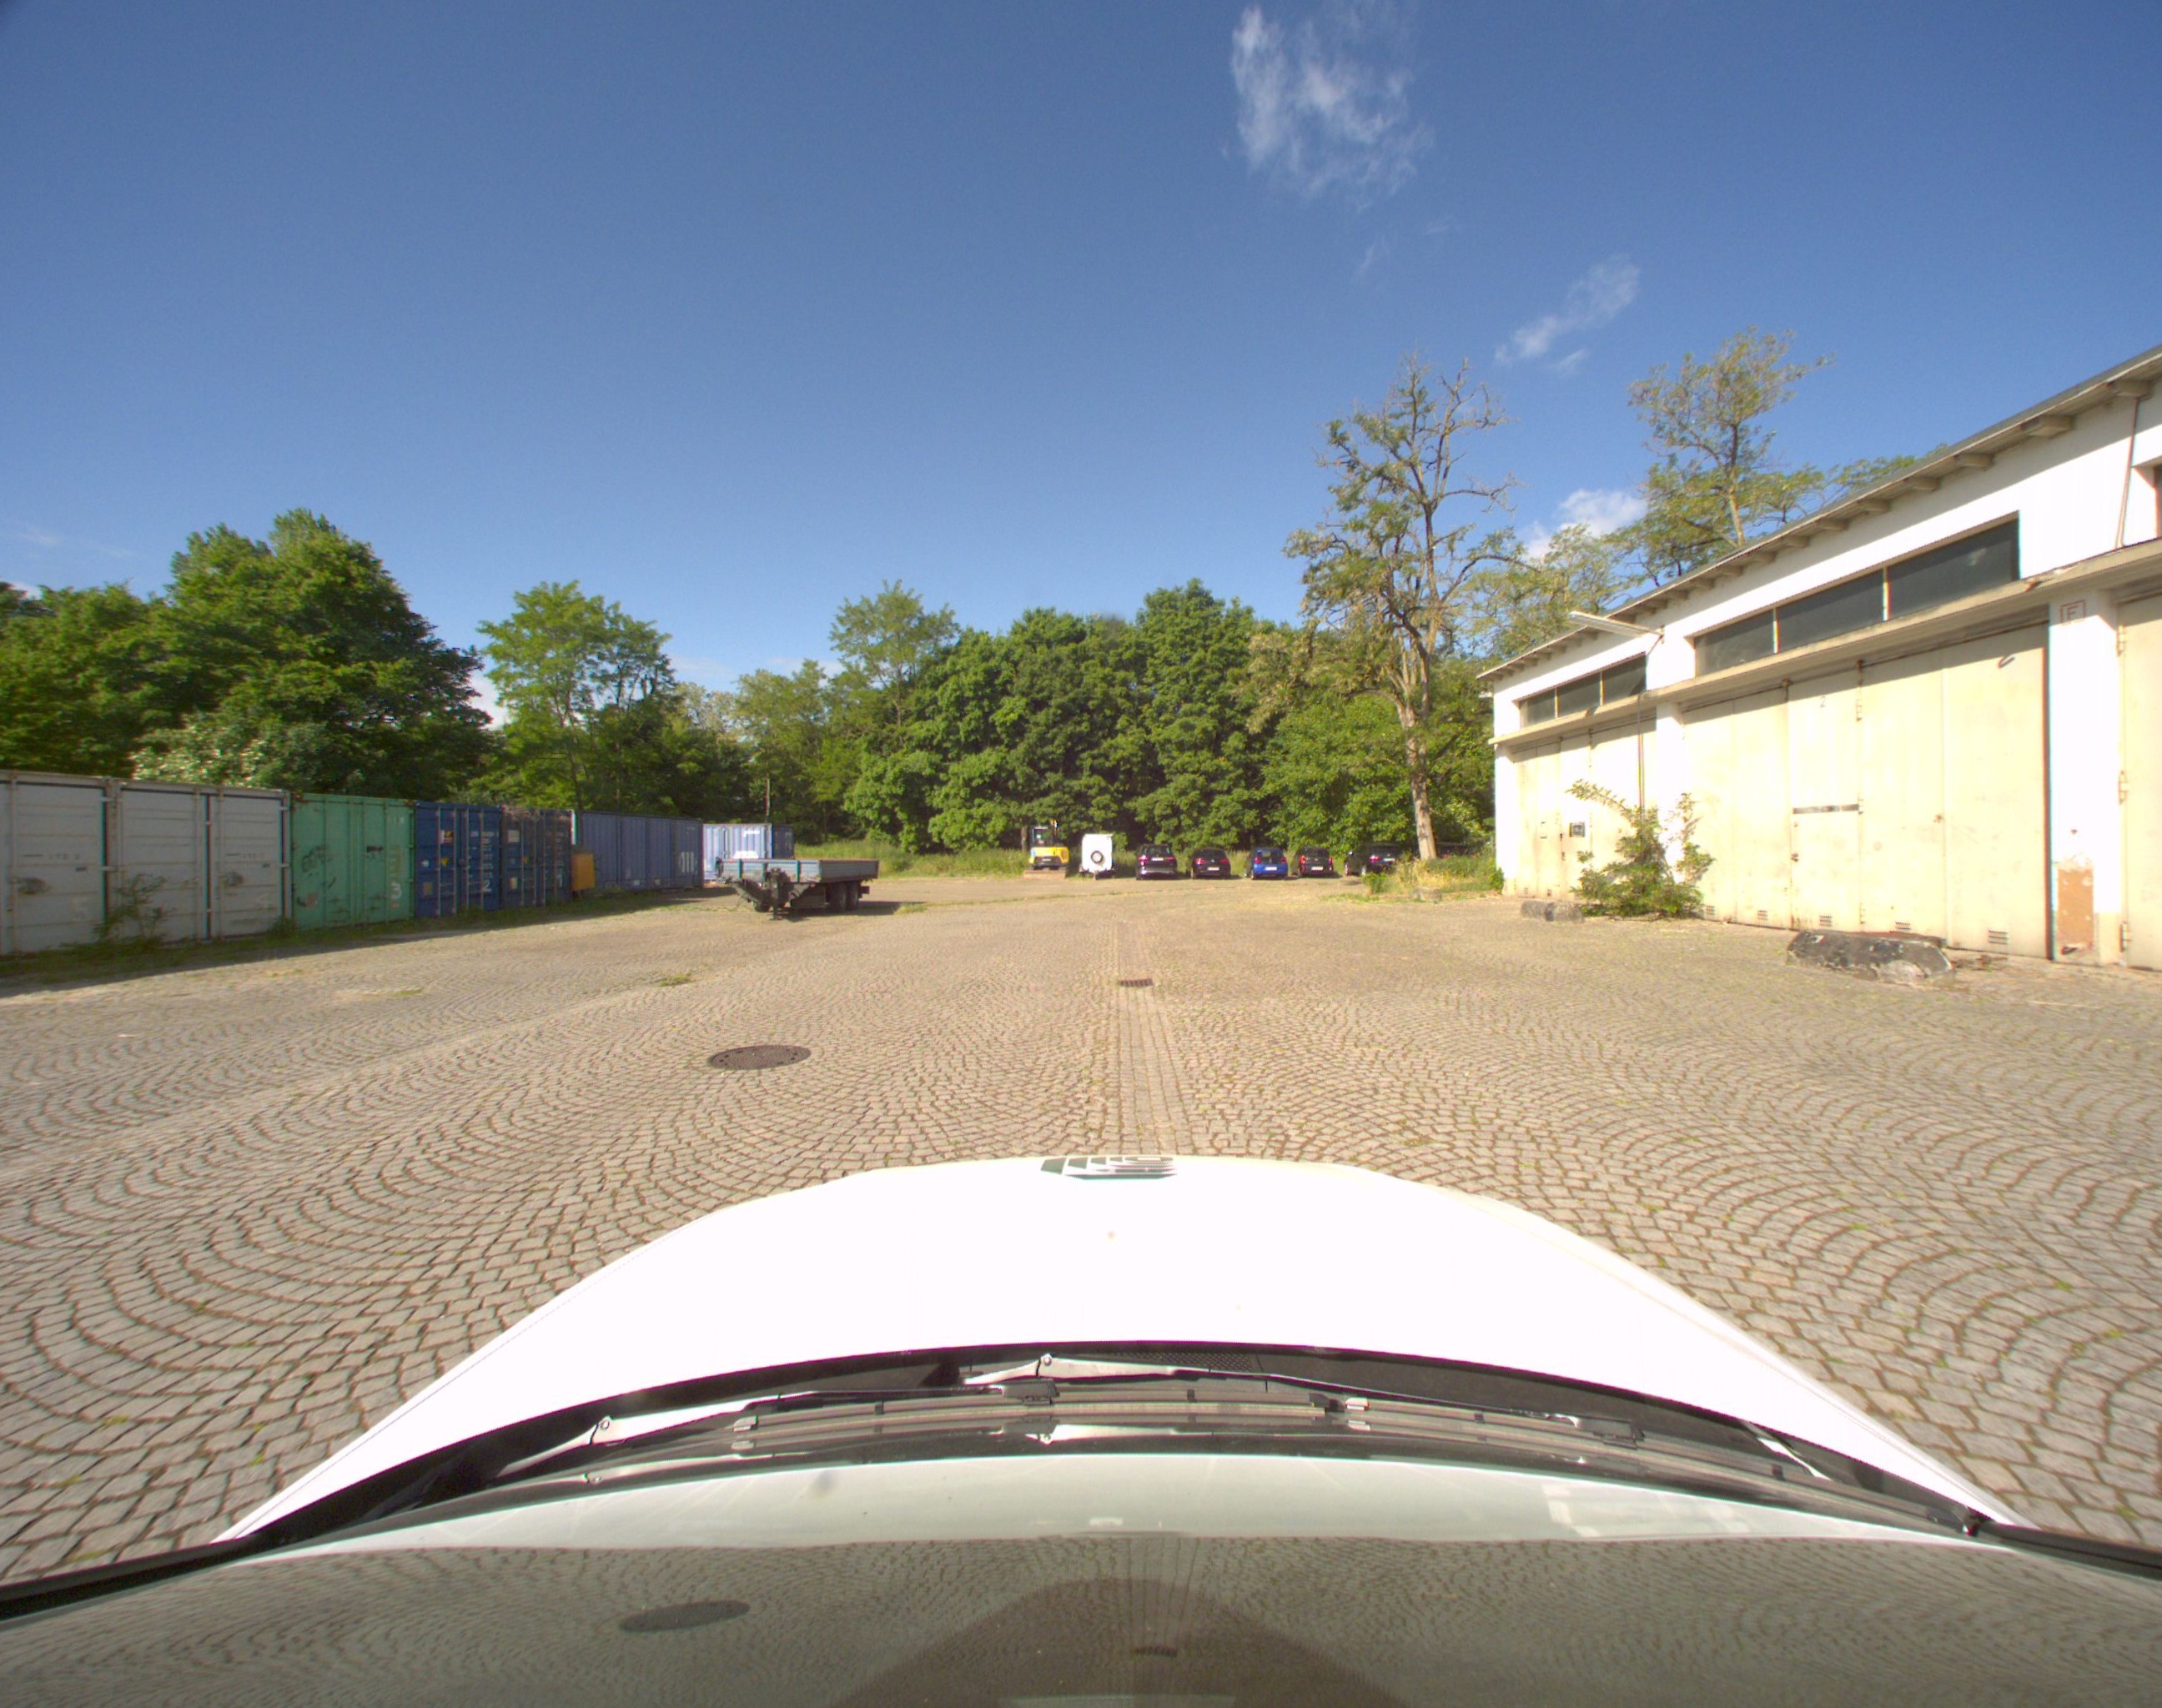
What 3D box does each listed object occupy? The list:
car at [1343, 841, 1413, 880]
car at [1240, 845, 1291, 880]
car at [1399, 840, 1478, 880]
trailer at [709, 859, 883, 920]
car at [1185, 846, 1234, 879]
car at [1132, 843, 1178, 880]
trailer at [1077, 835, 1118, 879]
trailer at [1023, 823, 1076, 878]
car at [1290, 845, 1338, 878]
[{"bbox_3d":[13.998,0.255,38.648,1.867,1.630,4.277,0,3,2],"label":"car"},{"bbox_3d":[8.587,0.357,38.144,1.772,1.458,3.794,0,1,3],"label":"car"},{"bbox_3d":[16.941,0.221,38.838,1.819,1.588,4.271,-1,4,-2],"label":"car"},{"bbox_3d":[-7.201,0.831,21.281,2.630,1.414,4.865,0,0,2],"label":"trailer"},{"bbox_3d":[5.964,0.363,38.160,1.881,1.411,3.793,0,1,2],"label":"car"},{"bbox_3d":[3.379,0.312,37.881,1.956,1.589,4.134,0,1,2],"label":"car"},{"bbox_3d":[0.813,0.110,39.130,1.810,2.050,2.854,0,1,4],"label":"trailer"},{"bbox_3d":[-1.504,-0.217,39.565,2.248,2.537,2.854,0,4,4],"label":"trailer"},{"bbox_3d":[11.126,0.335,39.084,1.729,1.451,3.734,0,1,8],"label":"car"}]
